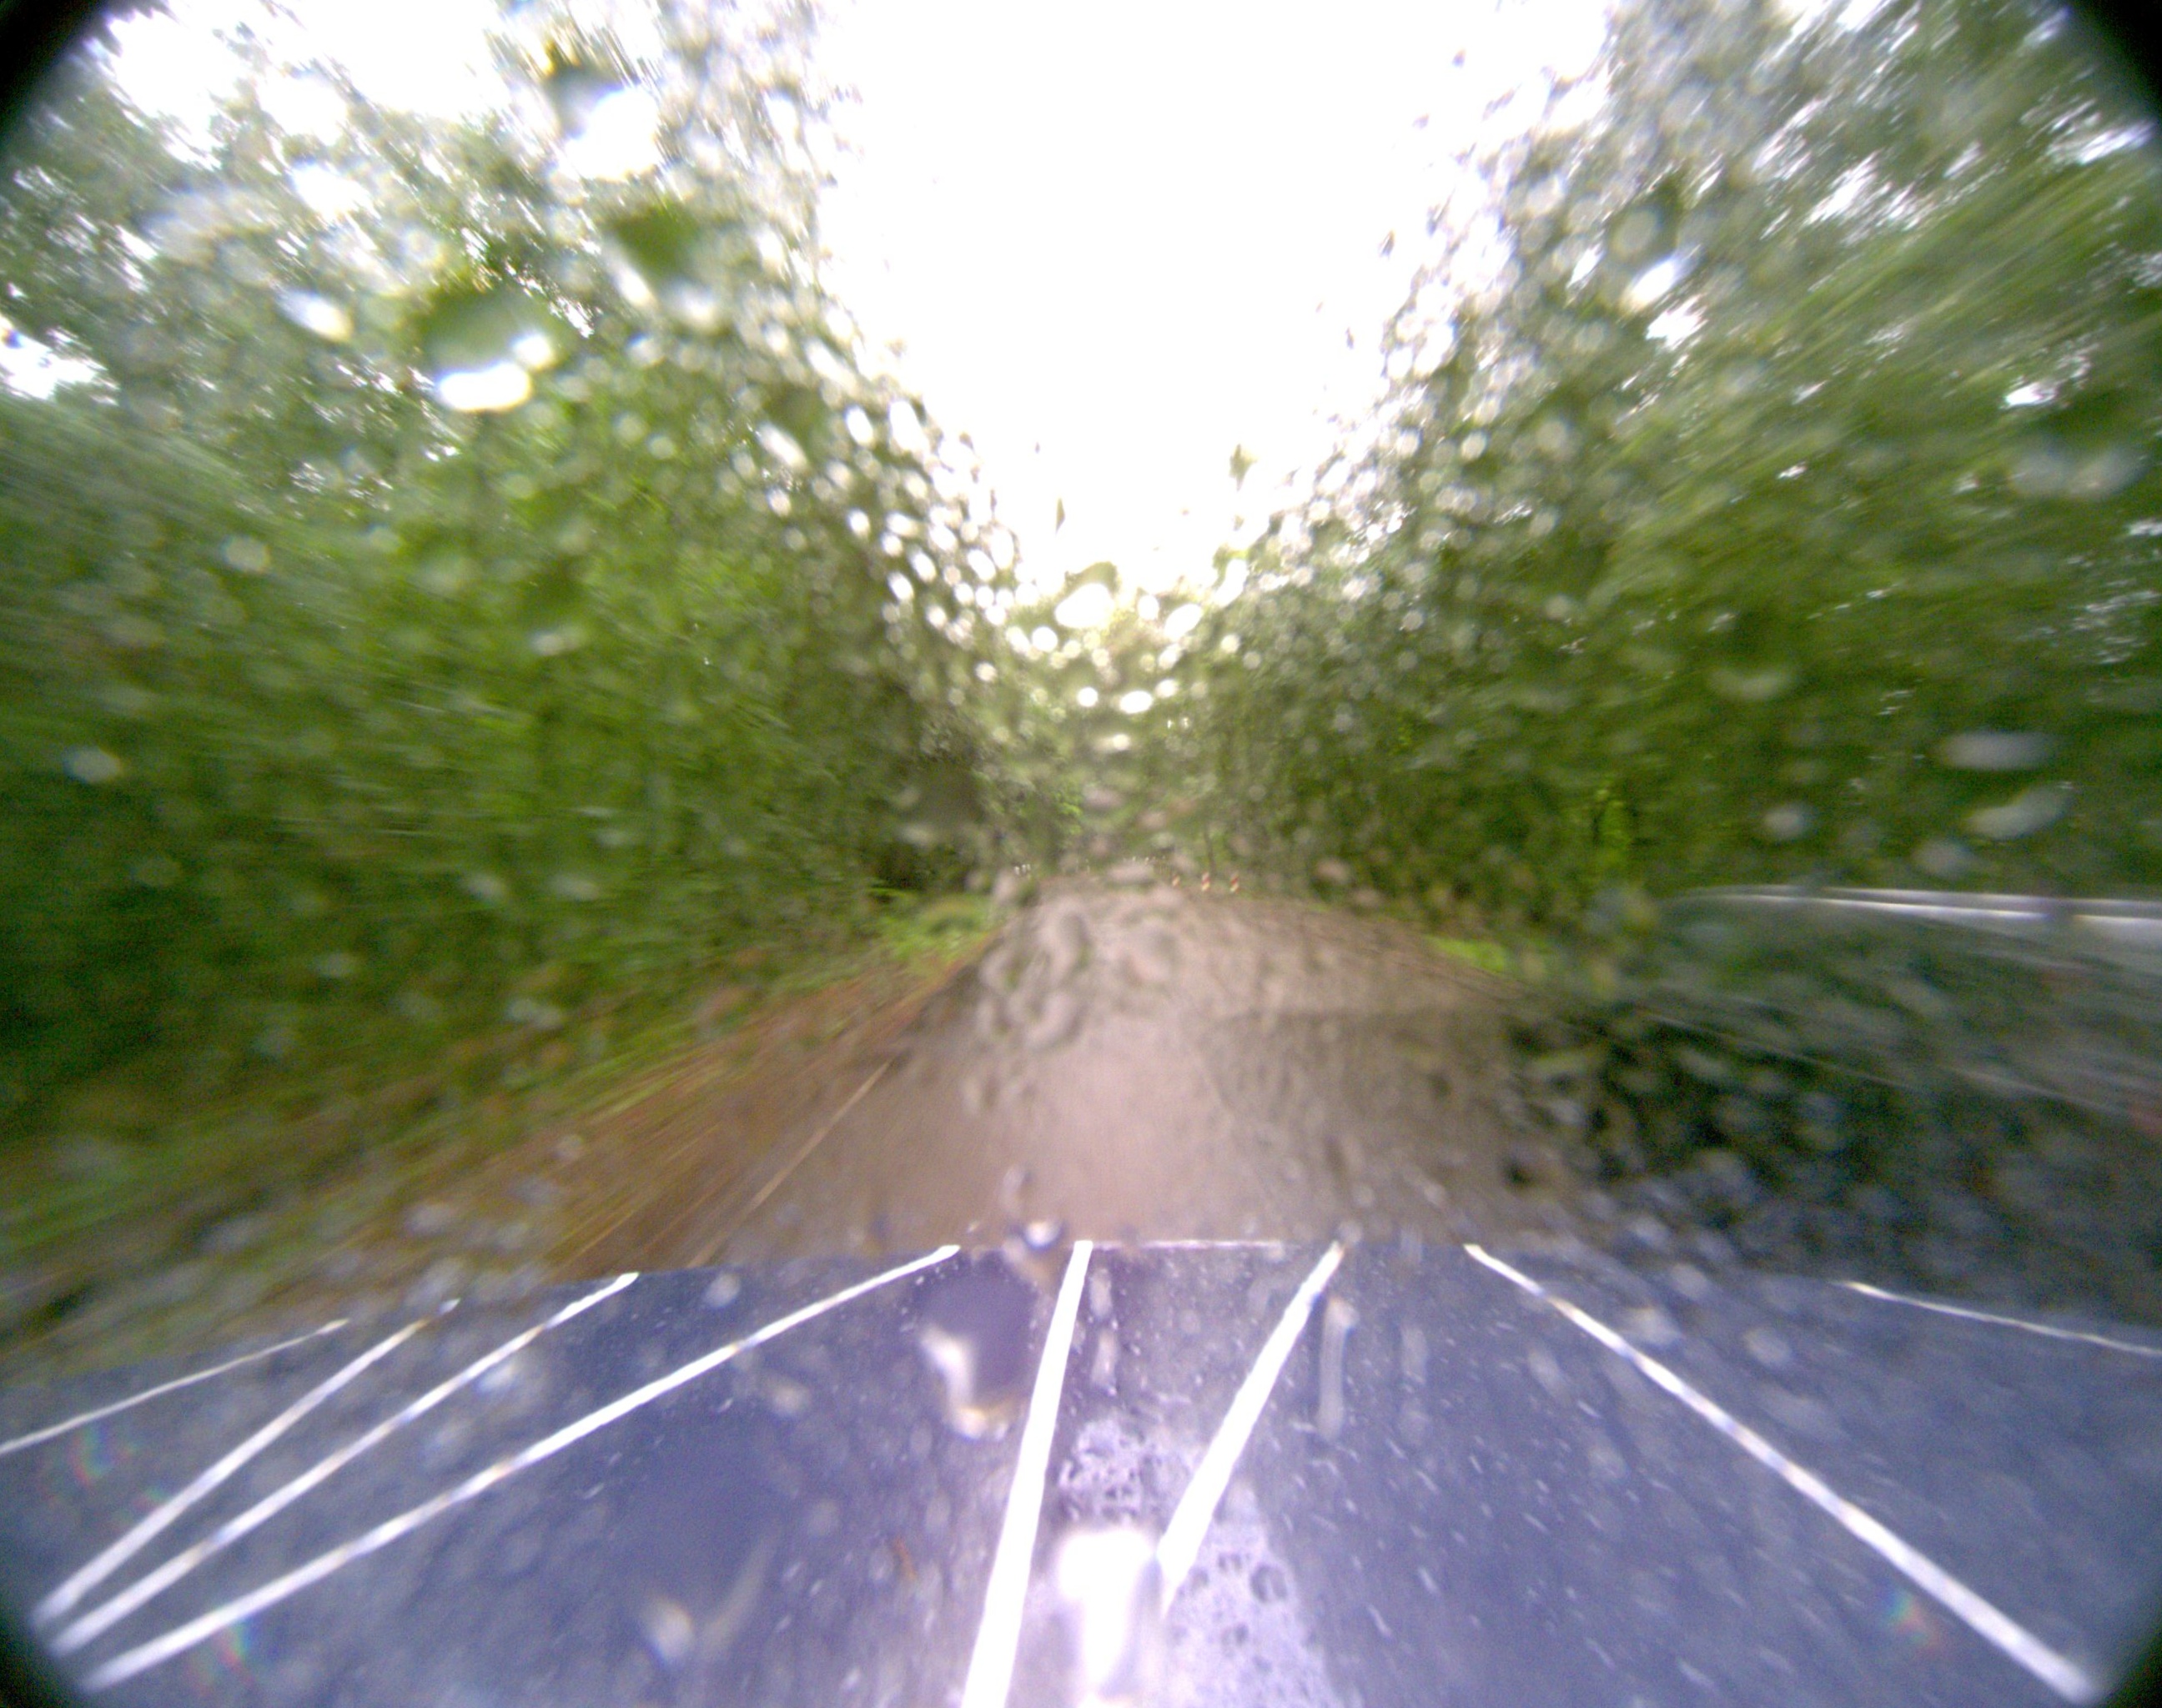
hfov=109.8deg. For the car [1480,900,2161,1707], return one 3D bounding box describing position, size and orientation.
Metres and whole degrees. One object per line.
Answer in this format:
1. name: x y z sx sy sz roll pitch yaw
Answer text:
1. car: 3.095 1.032 2.333 1.718 1.467 3.890 1 1 1
